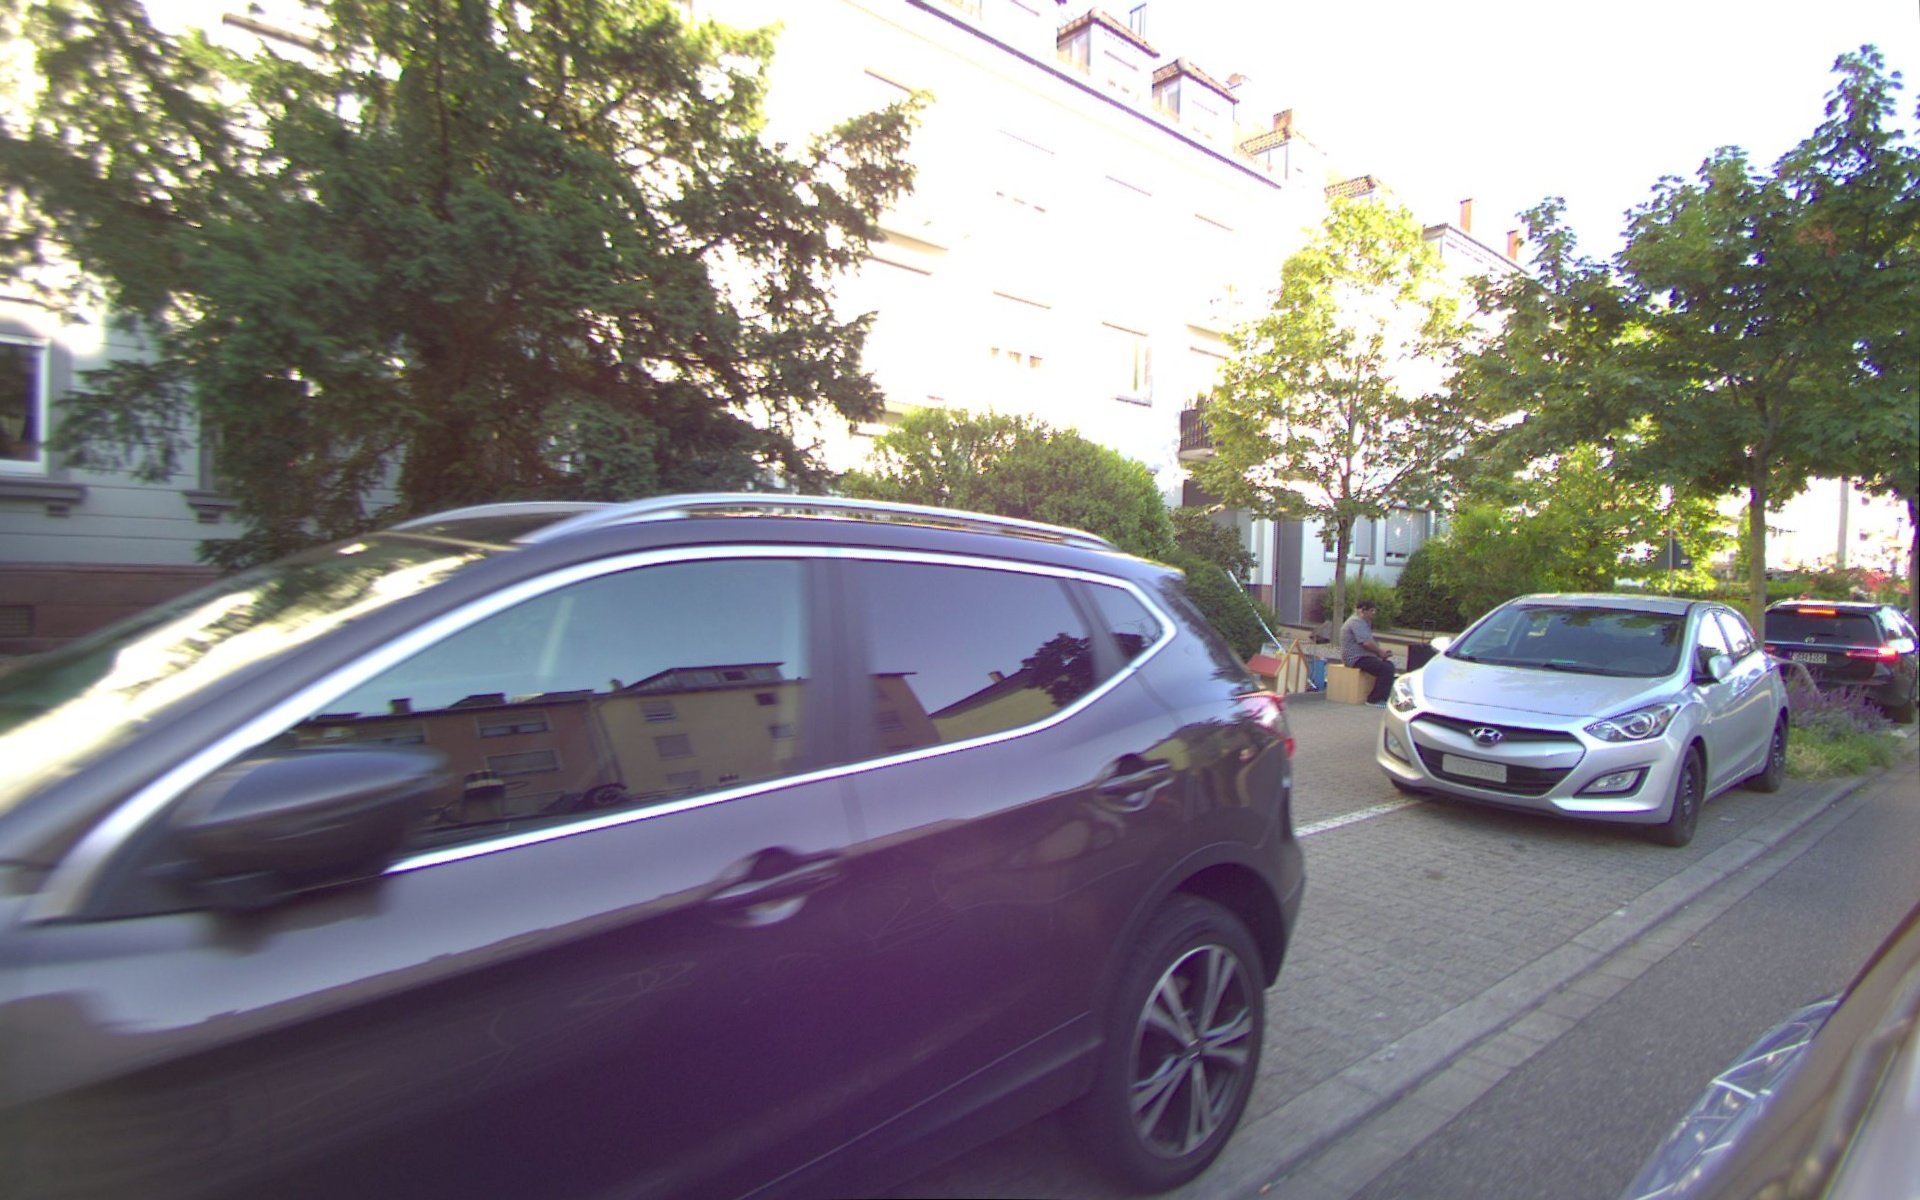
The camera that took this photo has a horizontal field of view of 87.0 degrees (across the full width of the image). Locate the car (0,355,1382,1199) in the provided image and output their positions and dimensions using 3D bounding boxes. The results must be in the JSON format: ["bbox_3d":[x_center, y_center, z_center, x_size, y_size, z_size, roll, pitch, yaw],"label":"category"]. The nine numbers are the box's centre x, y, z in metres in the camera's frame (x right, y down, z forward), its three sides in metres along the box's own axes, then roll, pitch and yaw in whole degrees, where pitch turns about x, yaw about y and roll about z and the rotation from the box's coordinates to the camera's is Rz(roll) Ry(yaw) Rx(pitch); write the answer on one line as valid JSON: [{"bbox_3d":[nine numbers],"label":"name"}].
[{"bbox_3d":[-0.884,0.538,2.234,4.024,1.621,1.721,0,2,-41],"label":"car"}]

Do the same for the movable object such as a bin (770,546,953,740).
[{"bbox_3d":[-0.892,0.321,8.883,1.116,1.510,1.273,1,3,-30],"label":"movable object such as a bin"}]

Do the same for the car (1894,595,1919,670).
[{"bbox_3d":[21.374,0.689,21.575,4.338,1.508,1.640,0,3,-41],"label":"car"}]

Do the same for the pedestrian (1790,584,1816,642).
[{"bbox_3d":[25.161,0.384,30.213,0.518,1.718,0.511,1,1,-45],"label":"pedestrian"}]

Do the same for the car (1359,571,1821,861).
[{"bbox_3d":[4.825,0.606,7.465,4.318,1.512,1.721,0,2,-42],"label":"car"}]

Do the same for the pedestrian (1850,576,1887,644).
[{"bbox_3d":[25.521,0.280,28.431,0.749,1.872,0.550,1,1,-34],"label":"pedestrian"}]

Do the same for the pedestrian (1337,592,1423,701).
[{"bbox_3d":[5.106,0.540,12.306,0.776,1.250,0.674,0,1,-40],"label":"pedestrian"}]

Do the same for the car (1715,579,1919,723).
[{"bbox_3d":[12.355,0.590,14.016,4.733,1.600,1.879,0,3,-39],"label":"car"}]

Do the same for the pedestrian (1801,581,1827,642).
[{"bbox_3d":[24.689,0.327,29.252,0.518,1.718,0.511,1,1,-45],"label":"pedestrian"}]
